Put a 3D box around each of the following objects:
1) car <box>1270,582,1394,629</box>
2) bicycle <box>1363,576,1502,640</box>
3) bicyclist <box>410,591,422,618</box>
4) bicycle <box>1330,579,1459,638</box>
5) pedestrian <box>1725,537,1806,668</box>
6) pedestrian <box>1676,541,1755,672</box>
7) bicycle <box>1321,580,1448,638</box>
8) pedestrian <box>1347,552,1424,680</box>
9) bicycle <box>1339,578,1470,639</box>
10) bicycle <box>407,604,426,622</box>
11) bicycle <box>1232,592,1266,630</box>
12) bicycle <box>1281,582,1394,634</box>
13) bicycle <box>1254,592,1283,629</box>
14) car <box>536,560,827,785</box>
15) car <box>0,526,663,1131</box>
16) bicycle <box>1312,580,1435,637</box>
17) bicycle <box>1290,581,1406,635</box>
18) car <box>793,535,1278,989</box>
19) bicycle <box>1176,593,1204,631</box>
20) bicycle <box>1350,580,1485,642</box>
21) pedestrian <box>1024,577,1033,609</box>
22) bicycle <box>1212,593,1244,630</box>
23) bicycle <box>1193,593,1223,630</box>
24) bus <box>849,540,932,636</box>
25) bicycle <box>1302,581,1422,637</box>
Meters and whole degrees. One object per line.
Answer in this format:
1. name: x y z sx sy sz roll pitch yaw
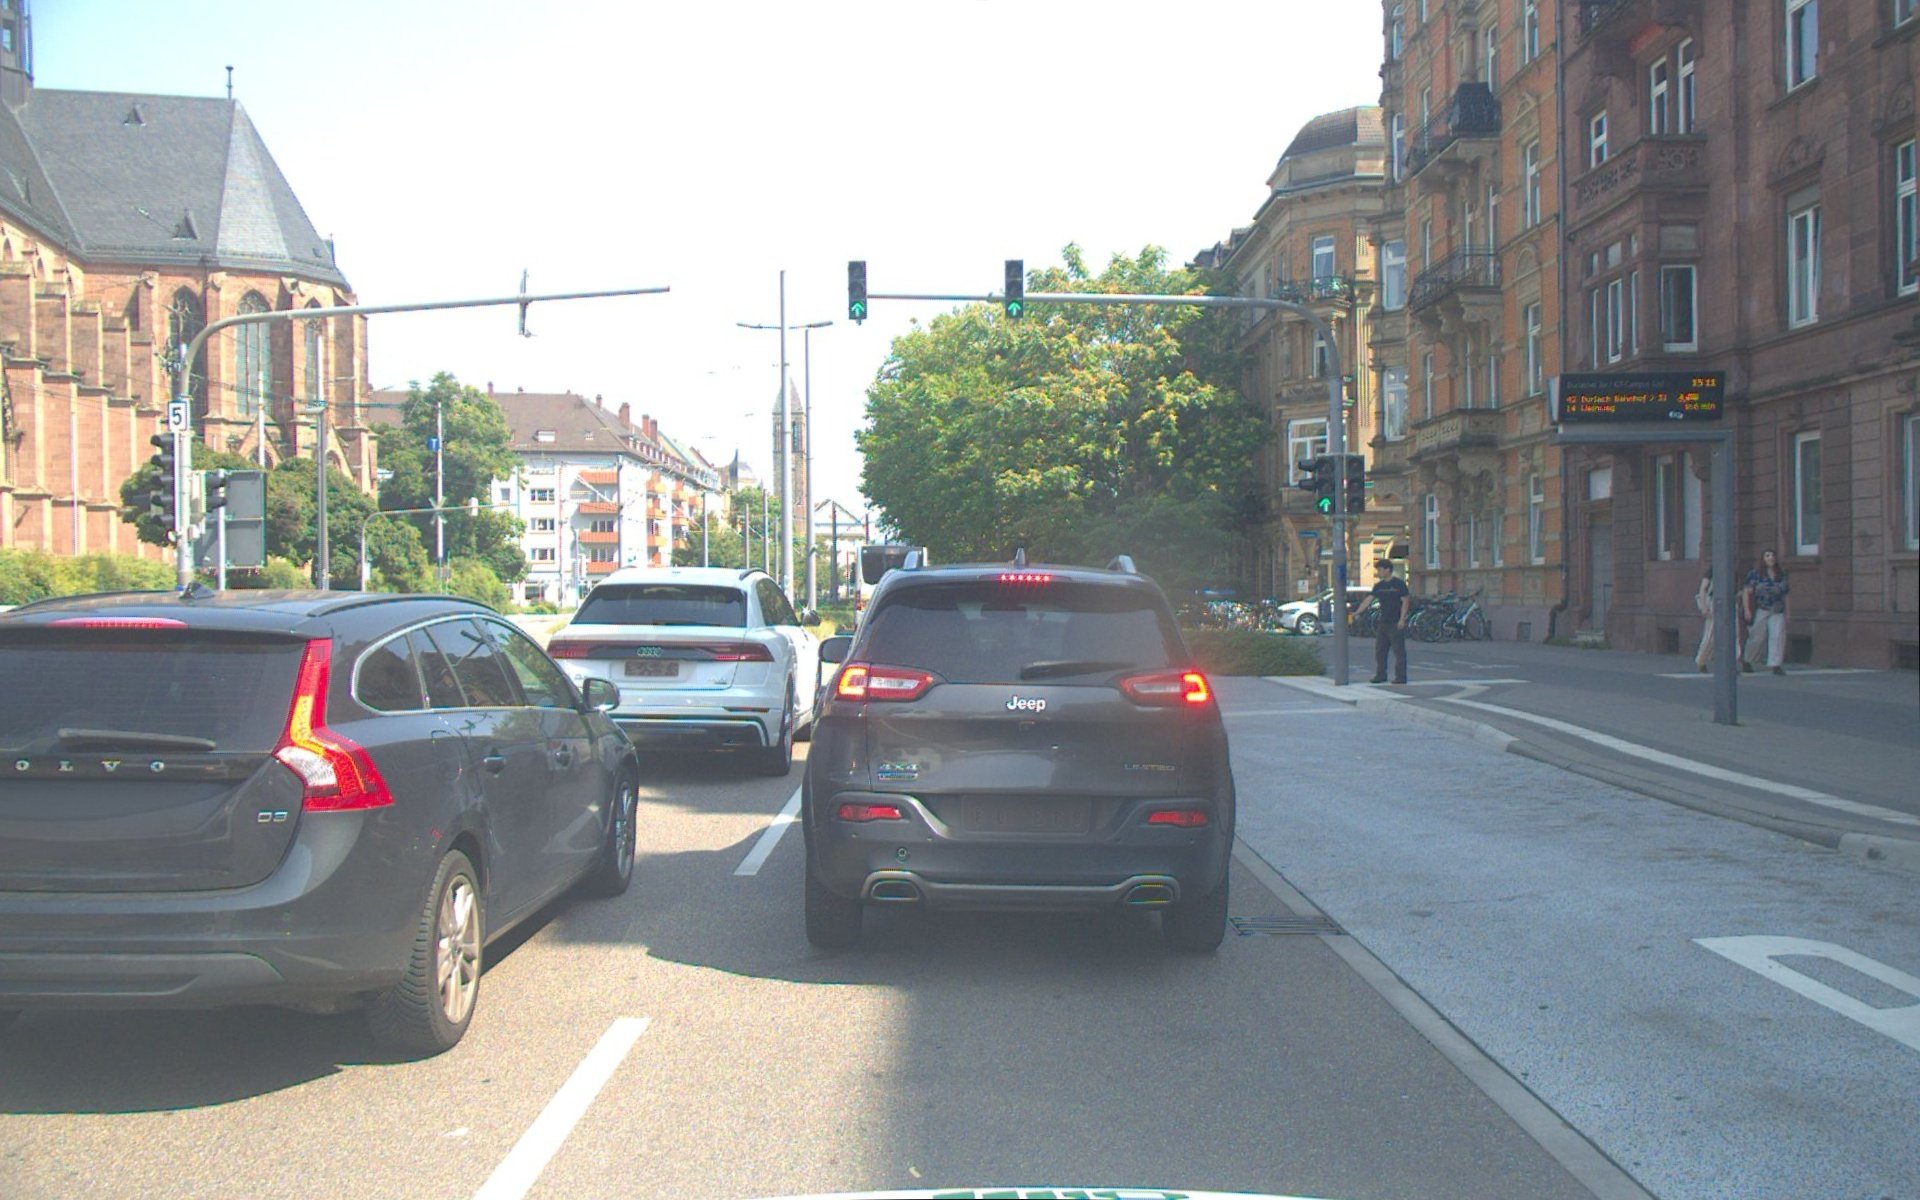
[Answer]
1. car: 12.947 0.186 57.667 3.858 1.547 1.680 -1 0 -8
2. bicycle: 10.883 0.186 38.157 2.933 1.395 0.871 -1 0 -2
3. bicyclist: -27.849 0.236 84.709 0.439 1.344 0.425 -1 0 0
4. bicycle: 10.737 0.203 40.921 2.933 1.395 0.871 -1 0 -2
5. pedestrian: 11.418 0.029 23.470 0.700 1.809 0.870 -1 0 -2
6. pedestrian: 10.693 0.085 23.438 0.700 1.807 0.847 -1 0 -2
7. bicycle: 10.725 0.223 41.865 2.943 1.397 0.947 -1 0 -2
8. pedestrian: 6.049 0.229 23.518 0.880 1.771 0.768 -2 0 25
9. bicycle: 10.727 0.204 39.974 2.933 1.395 0.871 -1 0 -2
10. bicycle: -27.840 0.665 84.718 0.444 0.874 1.476 -1 0 1
11. bicycle: 10.234 0.376 58.609 0.747 1.275 3.014 -1 0 2
12. bicycle: 10.559 0.217 46.326 2.943 1.397 0.947 -1 0 -2
13. bicycle: 11.016 0.360 59.055 0.644 1.271 2.413 -1 0 2
14. car: -2.258 0.524 14.529 1.863 1.680 4.308 0 1 -1
15. car: -2.426 0.608 6.658 1.712 1.642 4.308 1 0 -1
16. bicycle: 10.721 0.221 42.960 2.943 1.397 0.947 -1 0 -2
17. bicycle: 10.613 0.214 45.286 2.943 1.397 0.947 -1 0 -2
18. car: 0.297 0.591 8.340 1.795 1.680 4.308 1 0 0
19. bicycle: 8.128 0.414 58.589 0.636 1.275 3.014 -1 0 1
20. bicycle: 10.780 0.261 39.062 2.933 1.395 0.871 -1 0 -2
21. pedestrian: 4.438 -0.462 107.718 0.518 2.049 0.532 -1 0 -3
22. bicycle: 9.461 0.390 58.583 0.717 1.275 3.014 -1 0 2
23. bicycle: 8.776 0.400 58.574 0.636 1.275 3.014 -1 0 1
24. bus: -2.648 -0.392 61.991 2.688 3.161 11.948 2 0 -3
25. bicycle: 10.669 0.234 43.969 2.943 1.397 0.947 -1 0 -2
